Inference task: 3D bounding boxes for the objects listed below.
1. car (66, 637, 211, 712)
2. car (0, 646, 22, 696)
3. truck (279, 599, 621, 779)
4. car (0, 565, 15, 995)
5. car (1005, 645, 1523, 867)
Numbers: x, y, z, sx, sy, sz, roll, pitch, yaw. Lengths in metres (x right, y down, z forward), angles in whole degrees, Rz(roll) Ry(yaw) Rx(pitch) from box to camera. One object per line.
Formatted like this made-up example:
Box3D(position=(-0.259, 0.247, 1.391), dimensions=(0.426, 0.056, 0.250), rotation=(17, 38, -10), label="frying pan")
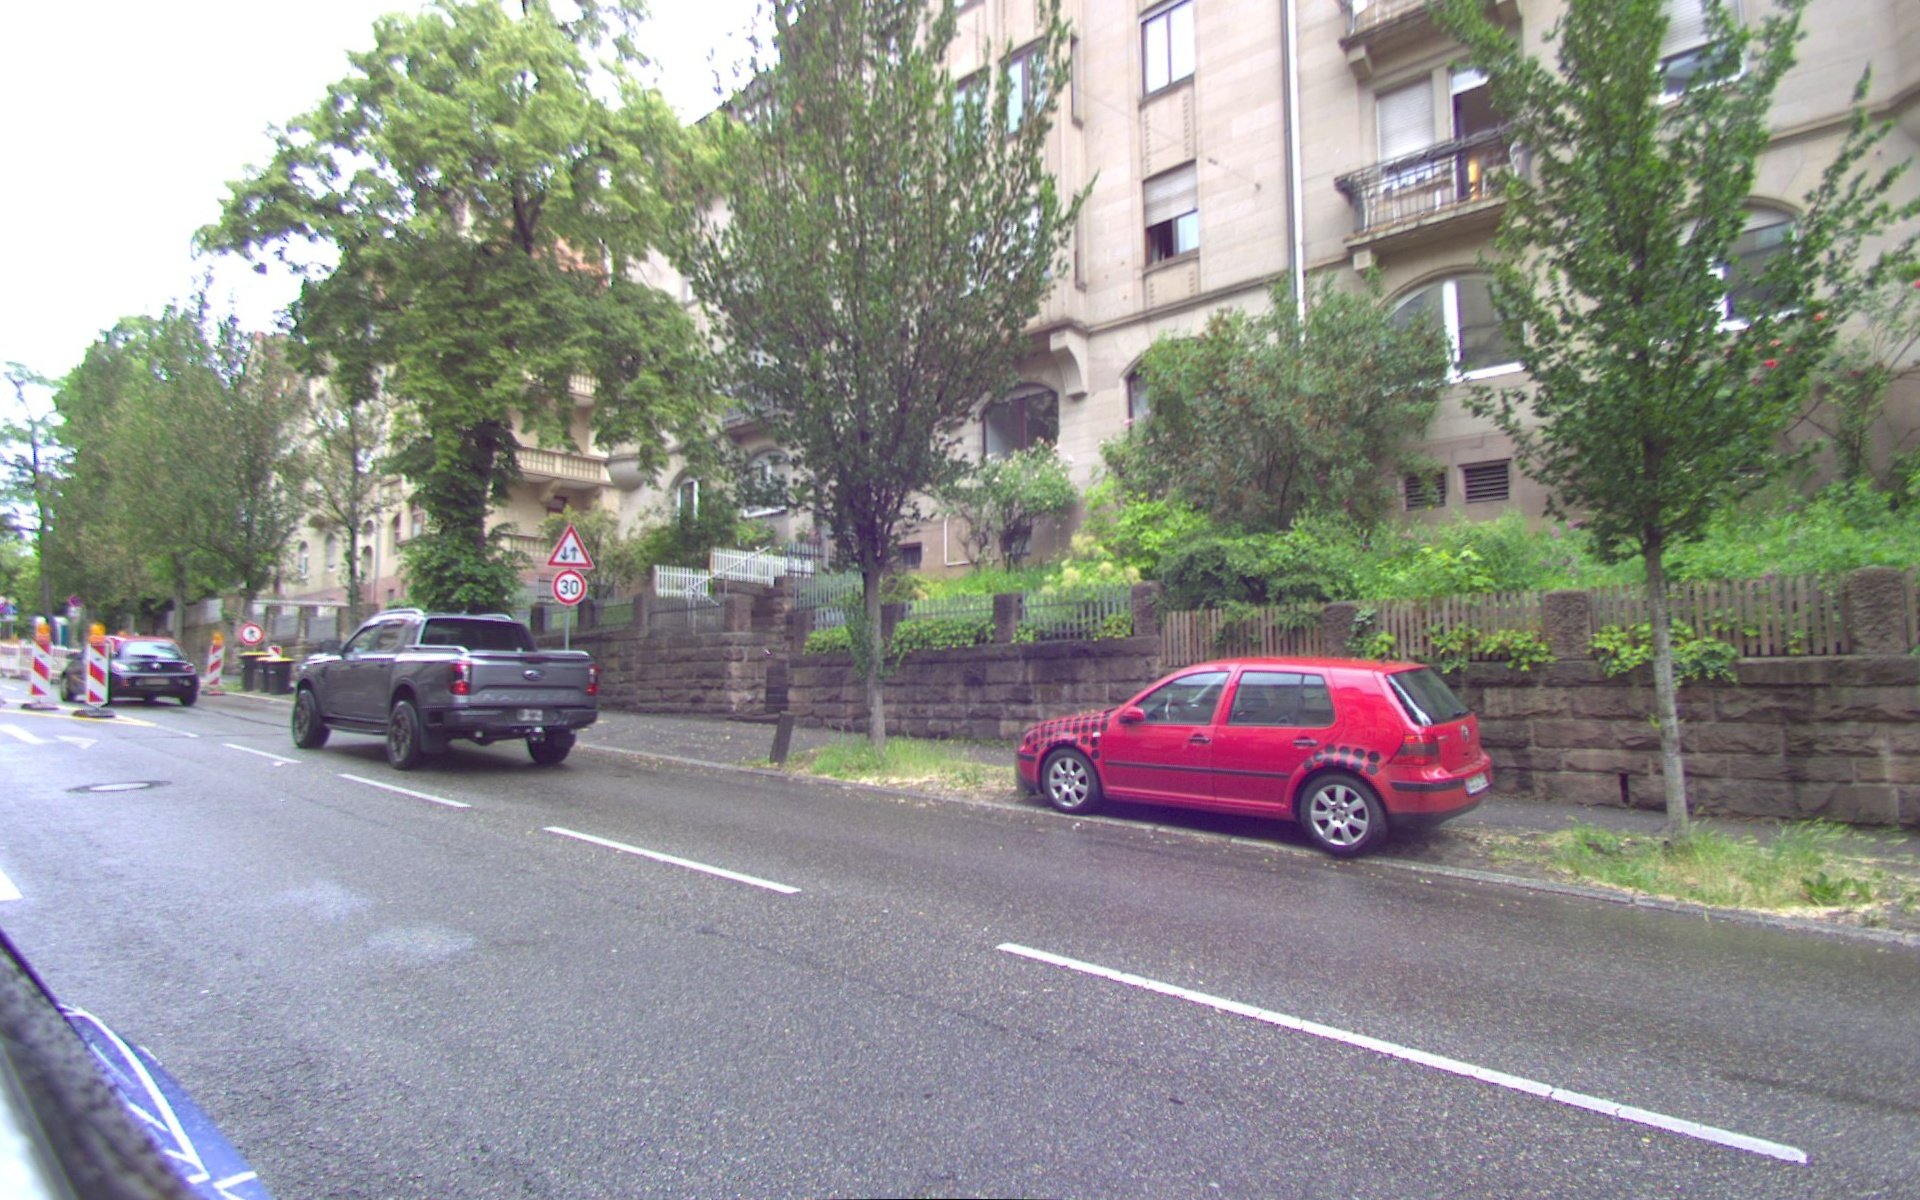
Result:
Box3D(position=(-17.814, 1.584, 21.905), dimensions=(3.652, 1.483, 1.649), rotation=(-2, -6, 39), label="car")
Box3D(position=(-30.899, 2.177, 31.617), dimensions=(4.316, 1.523, 1.885), rotation=(-2, -5, 42), label="car")
Box3D(position=(-6.673, 1.063, 12.952), dimensions=(5.150, 1.850, 2.049), rotation=(-2, -6, 41), label="truck")
Box3D(position=(-5.380, 0.760, 4.136), dimensions=(4.520, 1.685, 1.799), rotation=(-2, -3, 42), label="car")
Box3D(position=(2.459, 1.151, 8.857), dimensions=(4.062, 1.462, 1.596), rotation=(-2, -3, 42), label="car")
